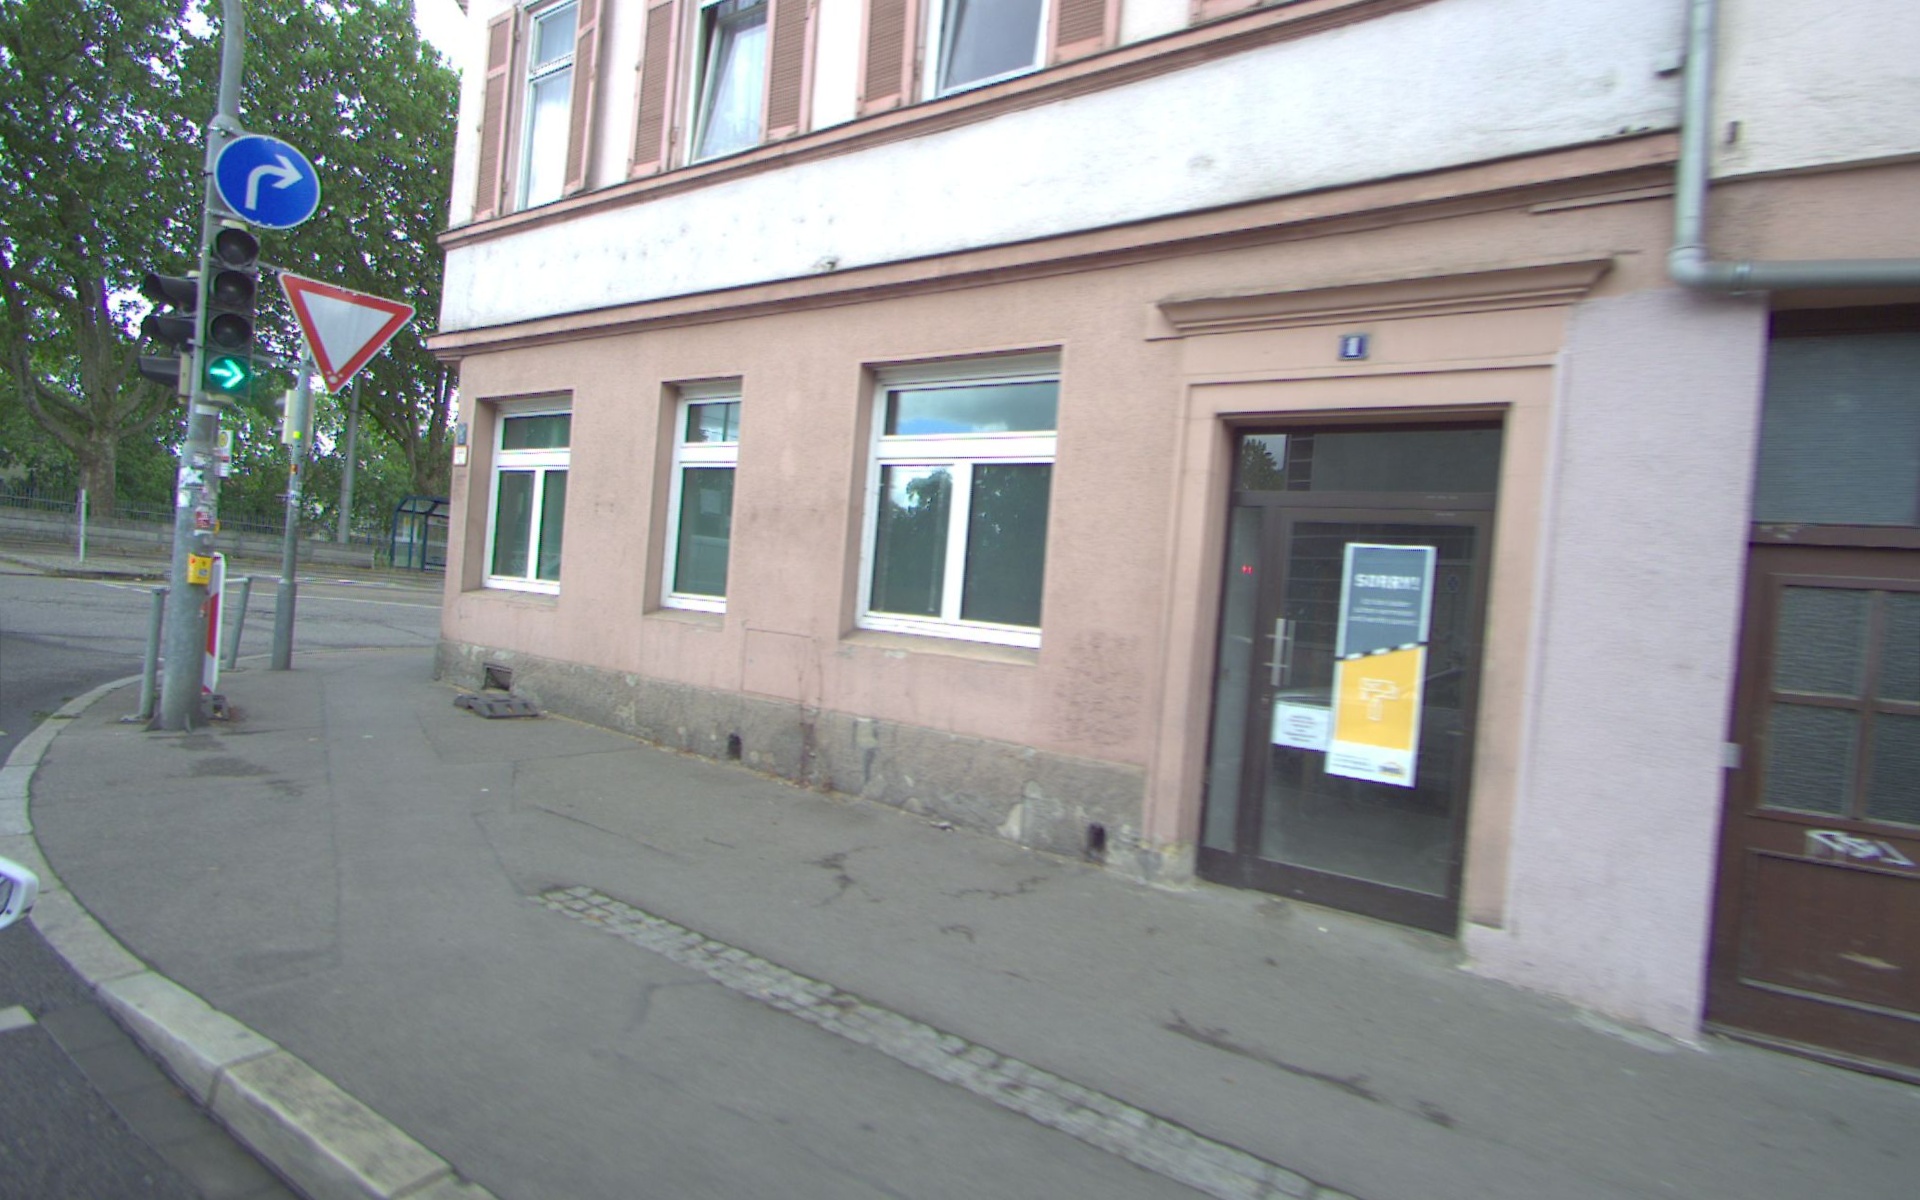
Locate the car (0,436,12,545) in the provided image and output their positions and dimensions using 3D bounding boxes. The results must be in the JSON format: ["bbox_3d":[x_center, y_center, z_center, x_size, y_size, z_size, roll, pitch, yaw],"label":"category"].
[{"bbox_3d":[-9.284,-0.599,7.669,1.938,2.038,4.658,7,-1,-32],"label":"car"}]
